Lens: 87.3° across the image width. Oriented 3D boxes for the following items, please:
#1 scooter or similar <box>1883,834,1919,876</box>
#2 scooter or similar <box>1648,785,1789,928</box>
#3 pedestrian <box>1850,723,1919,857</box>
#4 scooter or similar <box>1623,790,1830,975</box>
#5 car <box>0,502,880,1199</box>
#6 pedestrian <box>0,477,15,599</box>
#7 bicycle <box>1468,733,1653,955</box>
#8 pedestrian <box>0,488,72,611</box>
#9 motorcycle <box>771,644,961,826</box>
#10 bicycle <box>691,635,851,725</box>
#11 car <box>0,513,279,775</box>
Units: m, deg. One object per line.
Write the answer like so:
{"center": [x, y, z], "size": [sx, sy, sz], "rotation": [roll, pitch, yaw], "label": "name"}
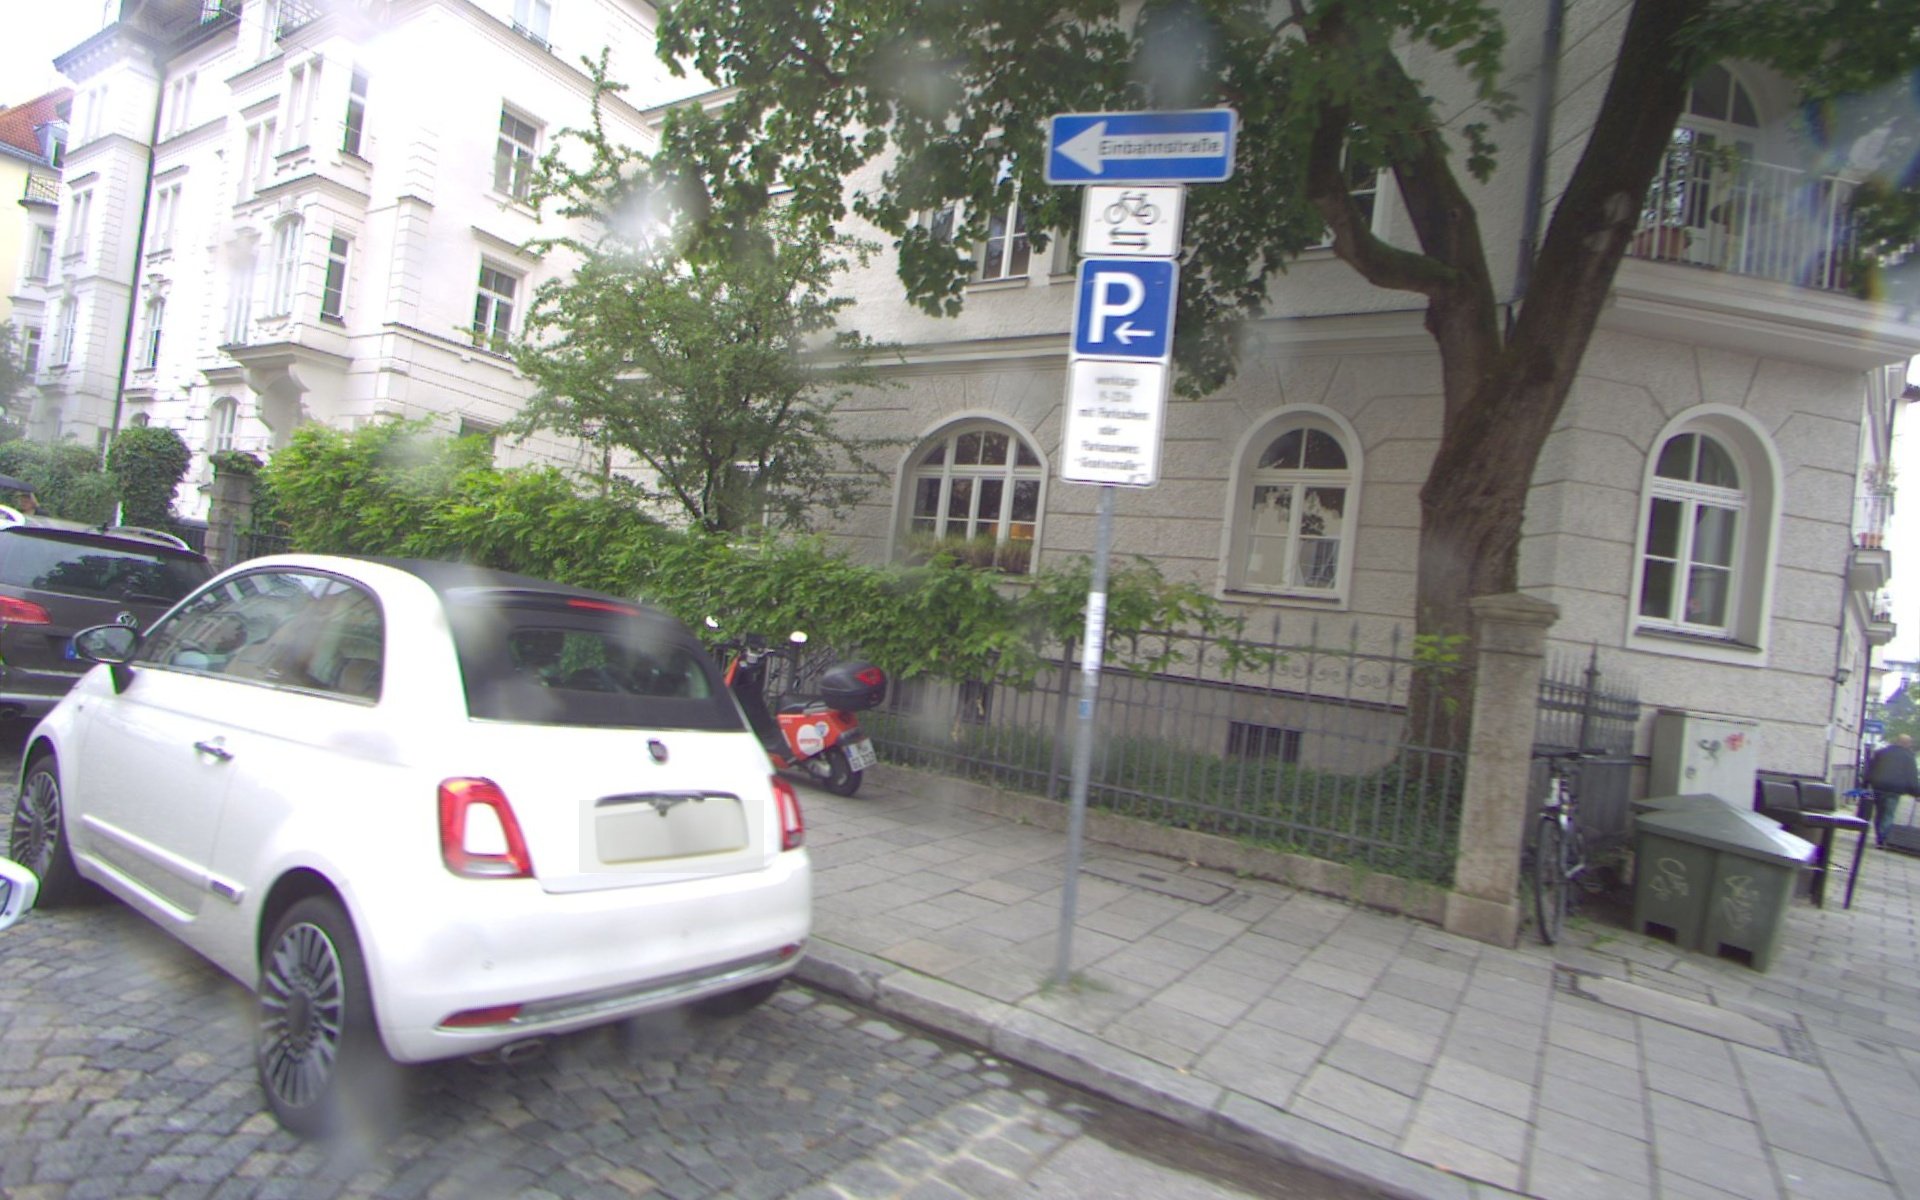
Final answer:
{"center": [13.888, 3.744, 14.710], "size": [0.451, 0.507, 0.382], "rotation": [6, -2, 27], "label": "scooter or similar"}
{"center": [5.739, 1.884, 7.587], "size": [0.687, 0.835, 1.236], "rotation": [5, -3, 42], "label": "scooter or similar"}
{"center": [14.231, 2.875, 15.354], "size": [0.730, 1.897, 0.495], "rotation": [6, -1, 28], "label": "pedestrian"}
{"center": [4.976, 1.759, 6.510], "size": [0.912, 0.858, 1.182], "rotation": [5, -3, 42], "label": "scooter or similar"}
{"center": [-2.313, 0.549, 3.929], "size": [3.735, 1.487, 1.504], "rotation": [6, -3, 34], "label": "car"}
{"center": [-14.660, -0.938, 15.017], "size": [0.672, 1.872, 0.575], "rotation": [7, 0, 40], "label": "pedestrian"}
{"center": [3.870, 1.465, 6.408], "size": [0.555, 1.137, 1.835], "rotation": [6, -1, 42], "label": "bicycle"}
{"center": [-14.732, -0.788, 15.869], "size": [0.647, 1.829, 0.631], "rotation": [7, -1, 10], "label": "pedestrian"}
{"center": [-0.715, 0.957, 7.406], "size": [1.382, 1.103, 0.362], "rotation": [6, -2, 36], "label": "motorcycle"}
{"center": [-2.368, 0.965, 12.386], "size": [2.239, 0.821, 0.491], "rotation": [5, -2, 37], "label": "bicycle"}
{"center": [-7.010, 0.133, 7.211], "size": [4.556, 1.436, 1.654], "rotation": [6, -5, 32], "label": "car"}
